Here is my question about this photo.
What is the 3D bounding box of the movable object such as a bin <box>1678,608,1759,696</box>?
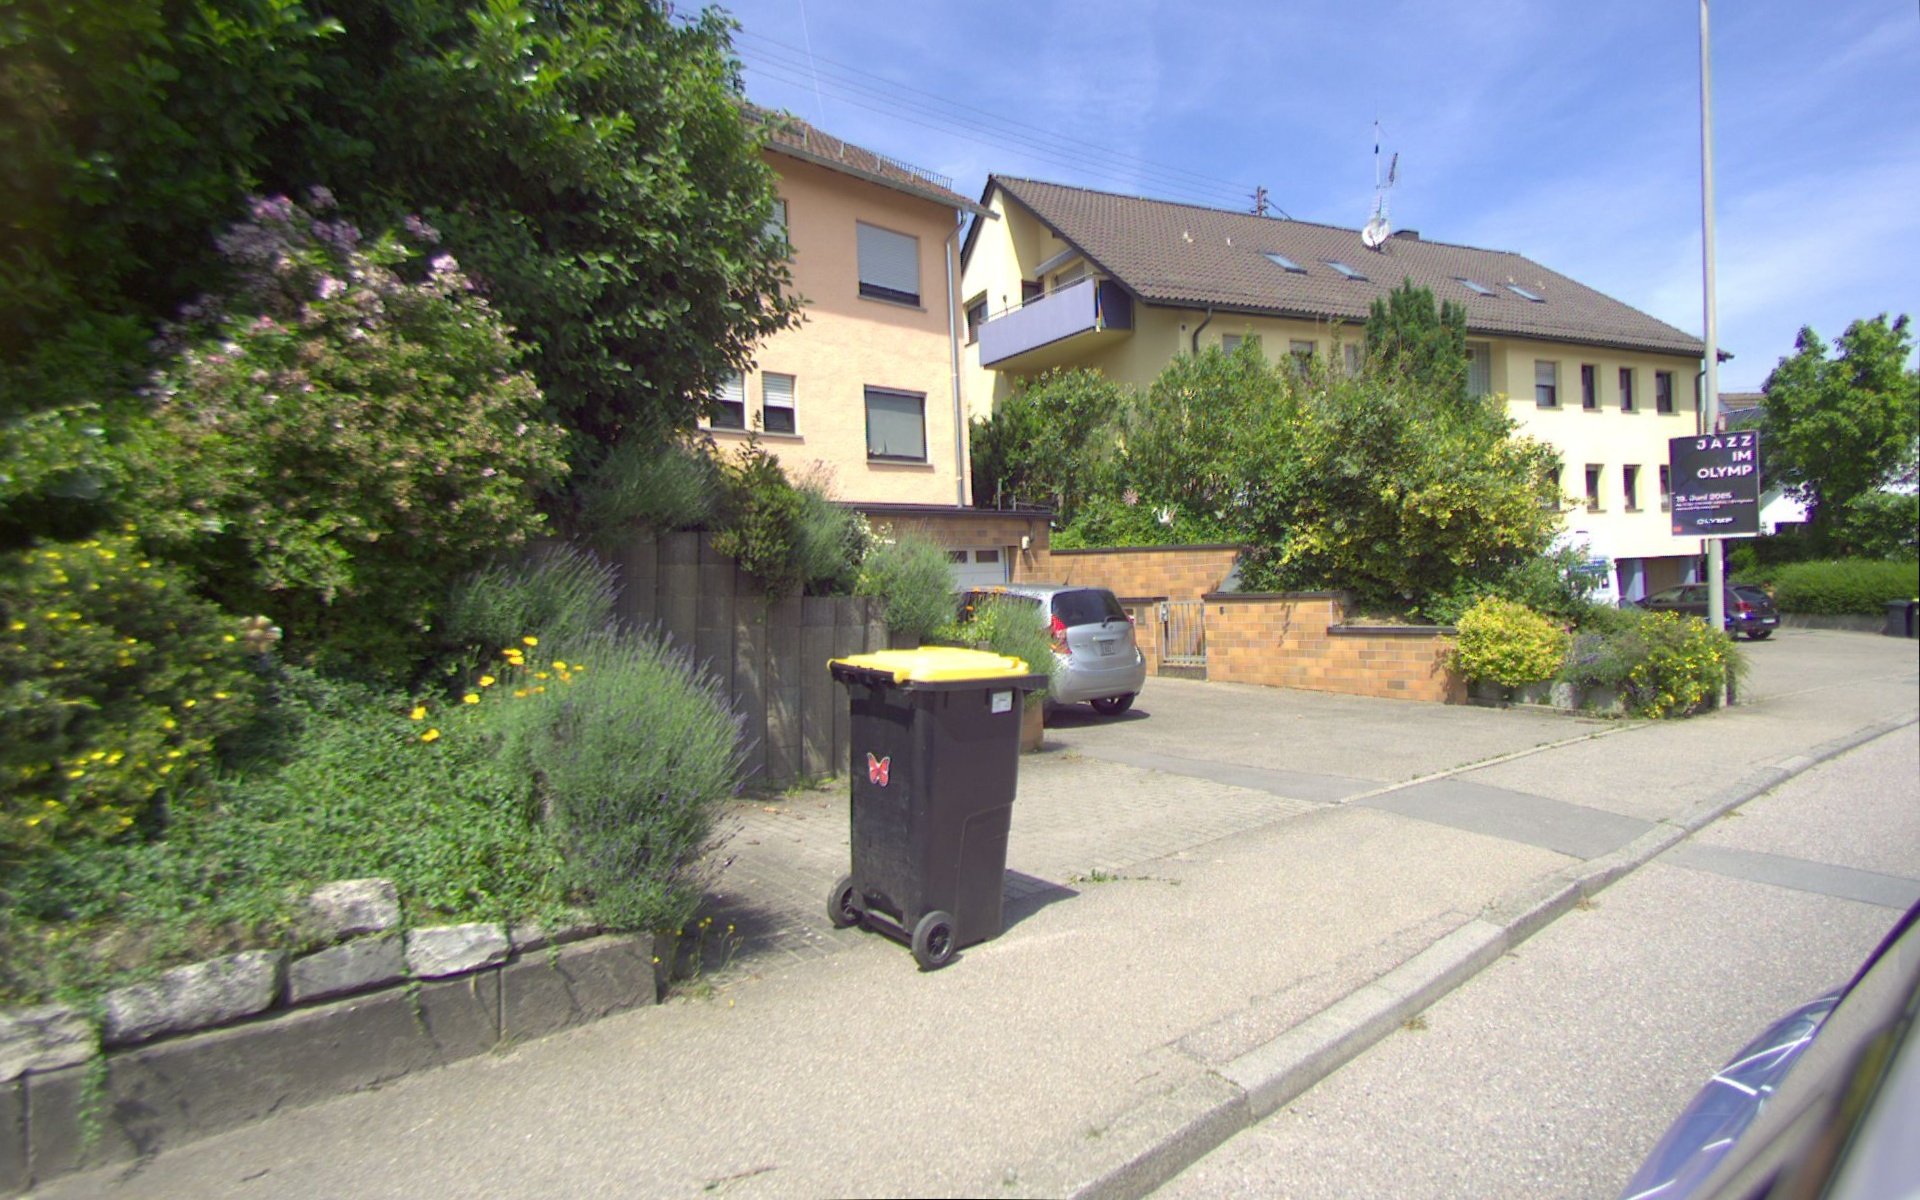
[{"bbox_3d":[9.800,0.674,13.085,0.646,1.083,0.551,0,-5,-33],"label":"movable object such as a bin"}]

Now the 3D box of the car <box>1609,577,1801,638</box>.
[{"bbox_3d":[19.376,0.172,26.494,1.610,1.436,3.699,-2,1,-23],"label":"car"}]

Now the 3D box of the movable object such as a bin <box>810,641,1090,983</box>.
[{"bbox_3d":[-0.030,0.717,3.841,0.903,1.072,0.589,0,0,-39],"label":"movable object such as a bin"}]

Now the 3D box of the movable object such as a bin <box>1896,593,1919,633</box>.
[{"bbox_3d":[24.318,0.327,25.794,0.504,0.967,0.451,-1,3,-24],"label":"movable object such as a bin"}]

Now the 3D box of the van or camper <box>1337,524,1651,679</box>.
[{"bbox_3d":[10.629,0.072,20.694,2.238,2.680,5.251,-3,0,-25],"label":"van or camper"}]

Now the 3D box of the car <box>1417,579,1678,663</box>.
[{"bbox_3d":[12.764,0.403,22.361,1.870,1.582,4.722,-3,1,-26],"label":"car"}]

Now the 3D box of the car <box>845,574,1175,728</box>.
[{"bbox_3d":[0.474,0.548,11.923,1.807,1.518,3.644,0,-2,-44],"label":"car"}]
